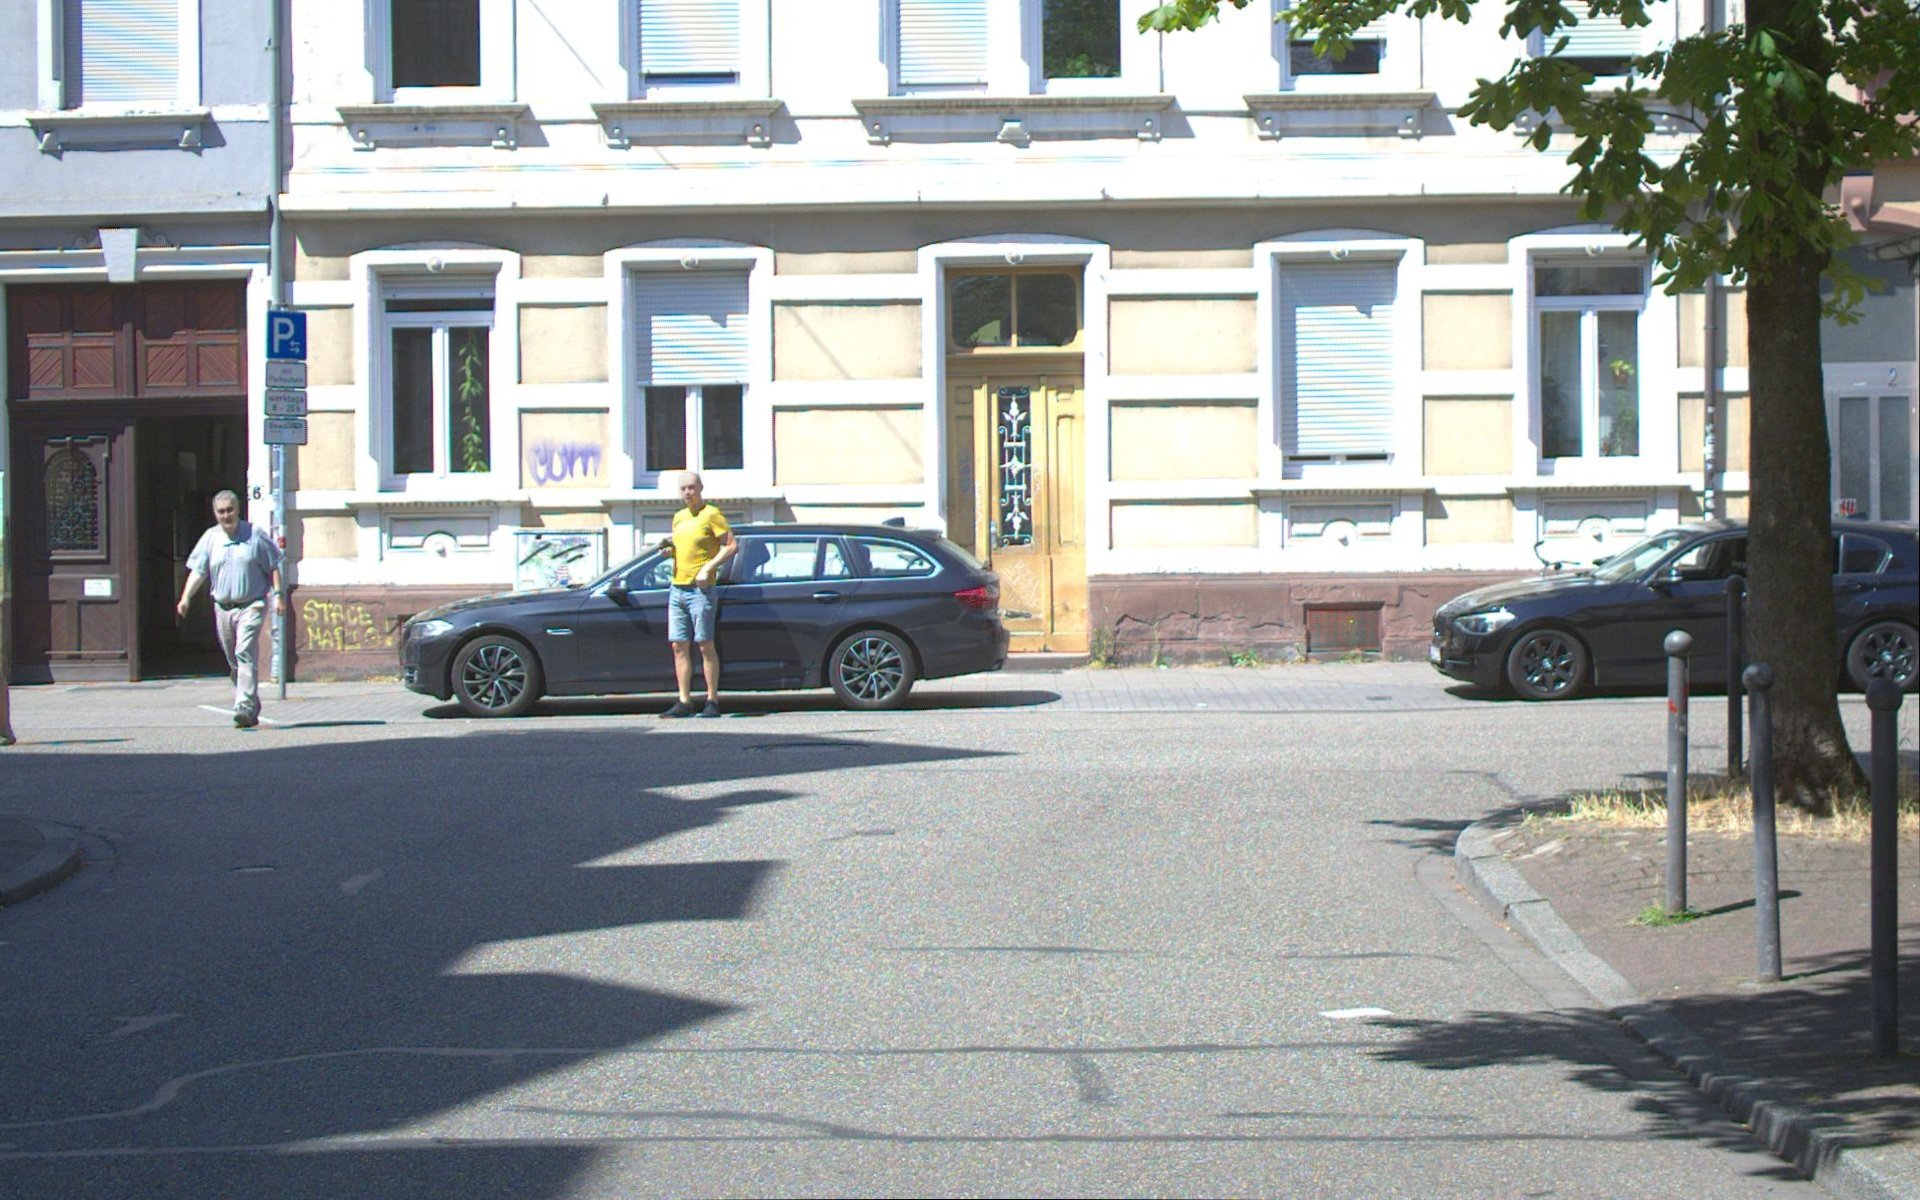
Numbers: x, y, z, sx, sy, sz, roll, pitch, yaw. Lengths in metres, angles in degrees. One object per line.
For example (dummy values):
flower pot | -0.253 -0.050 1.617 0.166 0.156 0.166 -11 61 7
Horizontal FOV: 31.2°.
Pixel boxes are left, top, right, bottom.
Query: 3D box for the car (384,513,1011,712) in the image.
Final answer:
car | -2.037 0.080 27.806 4.859 1.432 2.000 -1 1 1

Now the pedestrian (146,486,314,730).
pedestrian | -5.552 0.055 26.182 0.901 1.808 0.960 -1 1 11

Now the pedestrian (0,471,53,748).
pedestrian | -6.889 0.066 23.694 0.850 1.882 0.935 -1 1 12

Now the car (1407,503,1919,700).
car | 5.877 -0.012 27.752 4.294 1.365 1.807 -1 4 1

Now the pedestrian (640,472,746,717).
pedestrian | -2.069 -0.047 26.574 0.724 1.847 0.685 -2 1 -8
